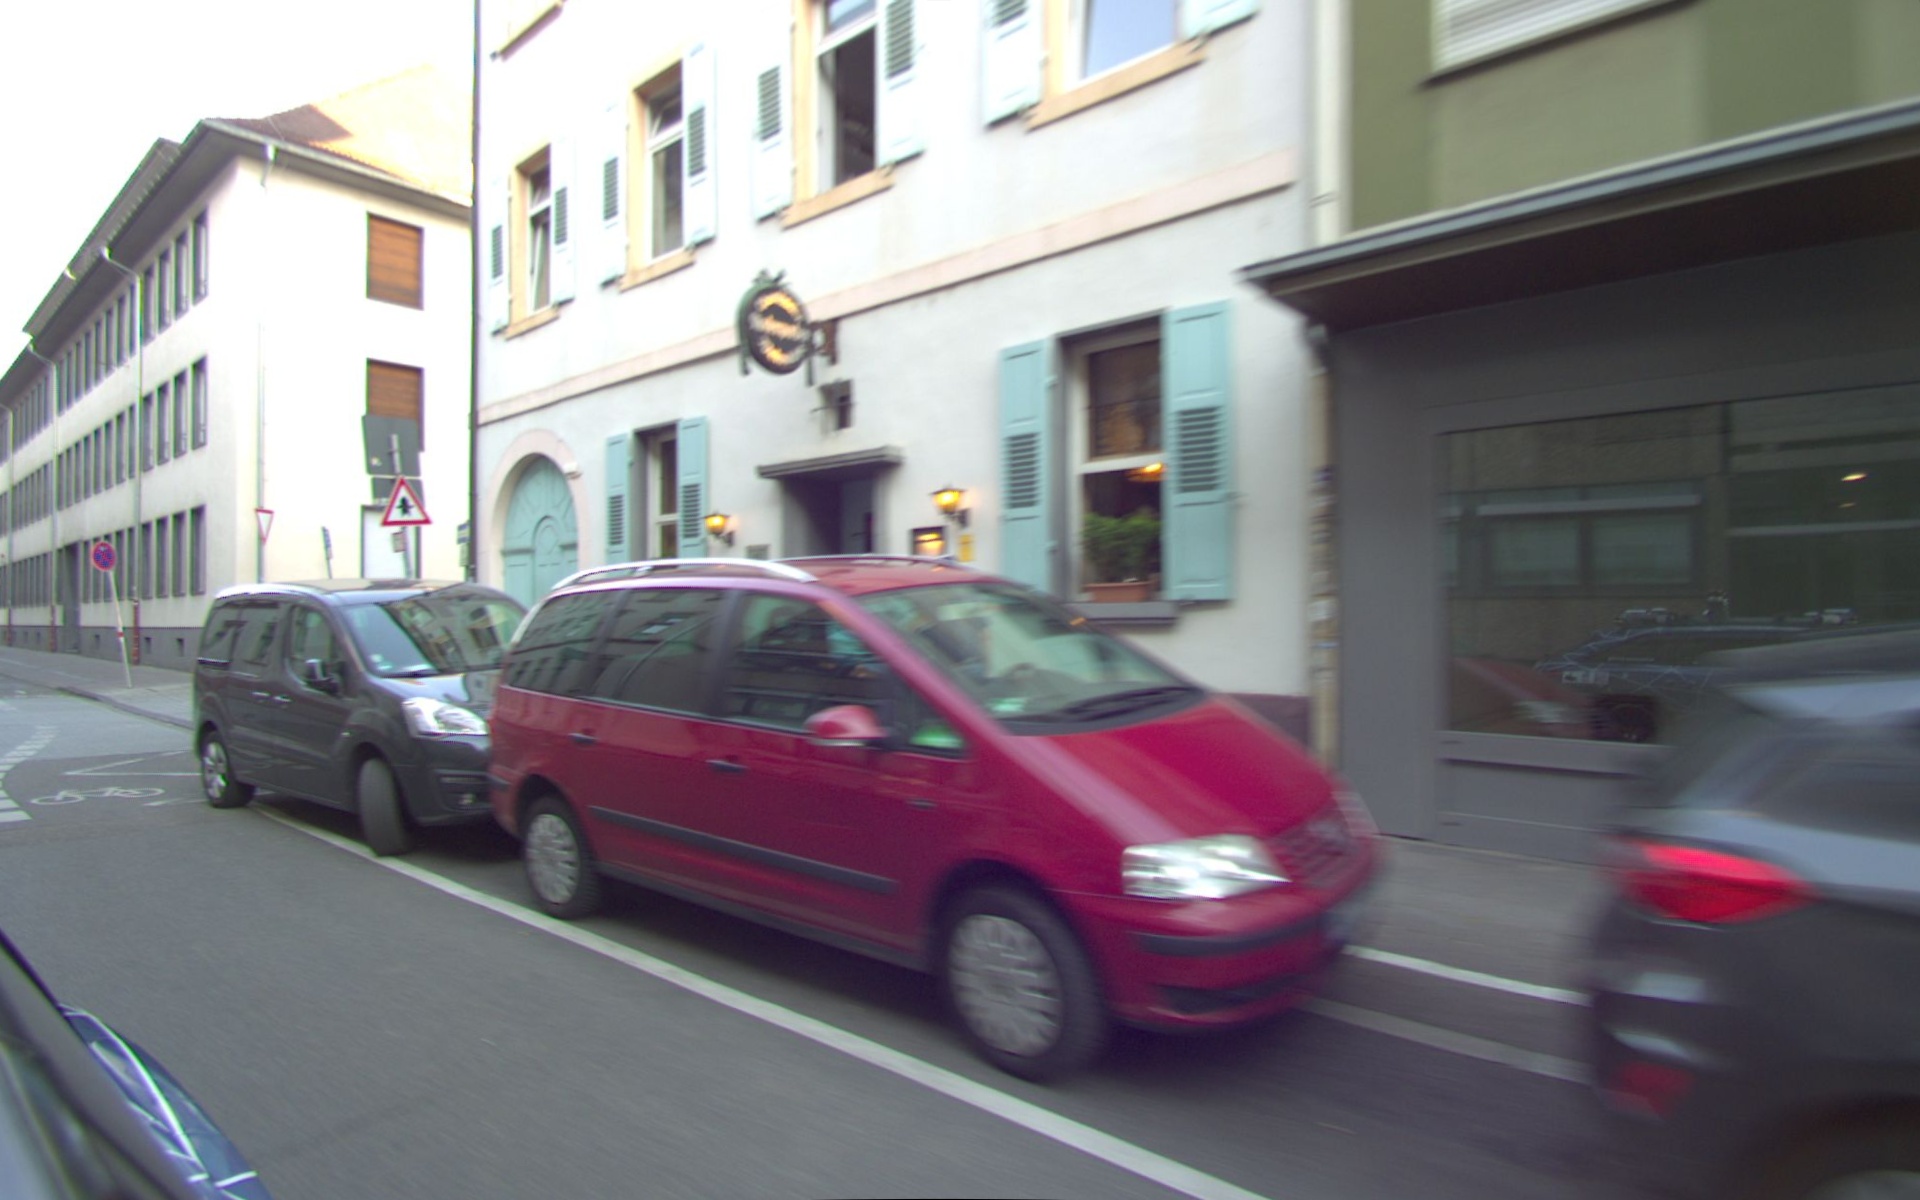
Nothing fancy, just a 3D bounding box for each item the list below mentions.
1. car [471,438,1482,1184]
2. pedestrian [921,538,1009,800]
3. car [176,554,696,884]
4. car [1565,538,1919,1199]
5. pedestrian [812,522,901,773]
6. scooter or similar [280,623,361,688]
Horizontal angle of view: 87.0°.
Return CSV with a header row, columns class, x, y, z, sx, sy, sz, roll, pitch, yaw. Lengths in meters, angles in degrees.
class,x,y,z,sx,sy,sz,roll,pitch,yaw
car,-0.313,0.546,4.608,4.506,1.825,1.754,-1,-1,40
pedestrian,0.035,0.464,7.126,0.470,1.763,0.402,-1,-1,42
car,-4.163,0.691,7.723,4.444,1.825,1.859,-1,-1,38
car,3.222,0.642,1.405,3.876,1.496,1.607,-1,-2,41
pedestrian,-0.760,0.335,7.412,0.470,1.763,0.444,-1,-1,42
scooter or similar,-13.087,1.117,20.750,0.528,1.209,1.358,-1,2,17
